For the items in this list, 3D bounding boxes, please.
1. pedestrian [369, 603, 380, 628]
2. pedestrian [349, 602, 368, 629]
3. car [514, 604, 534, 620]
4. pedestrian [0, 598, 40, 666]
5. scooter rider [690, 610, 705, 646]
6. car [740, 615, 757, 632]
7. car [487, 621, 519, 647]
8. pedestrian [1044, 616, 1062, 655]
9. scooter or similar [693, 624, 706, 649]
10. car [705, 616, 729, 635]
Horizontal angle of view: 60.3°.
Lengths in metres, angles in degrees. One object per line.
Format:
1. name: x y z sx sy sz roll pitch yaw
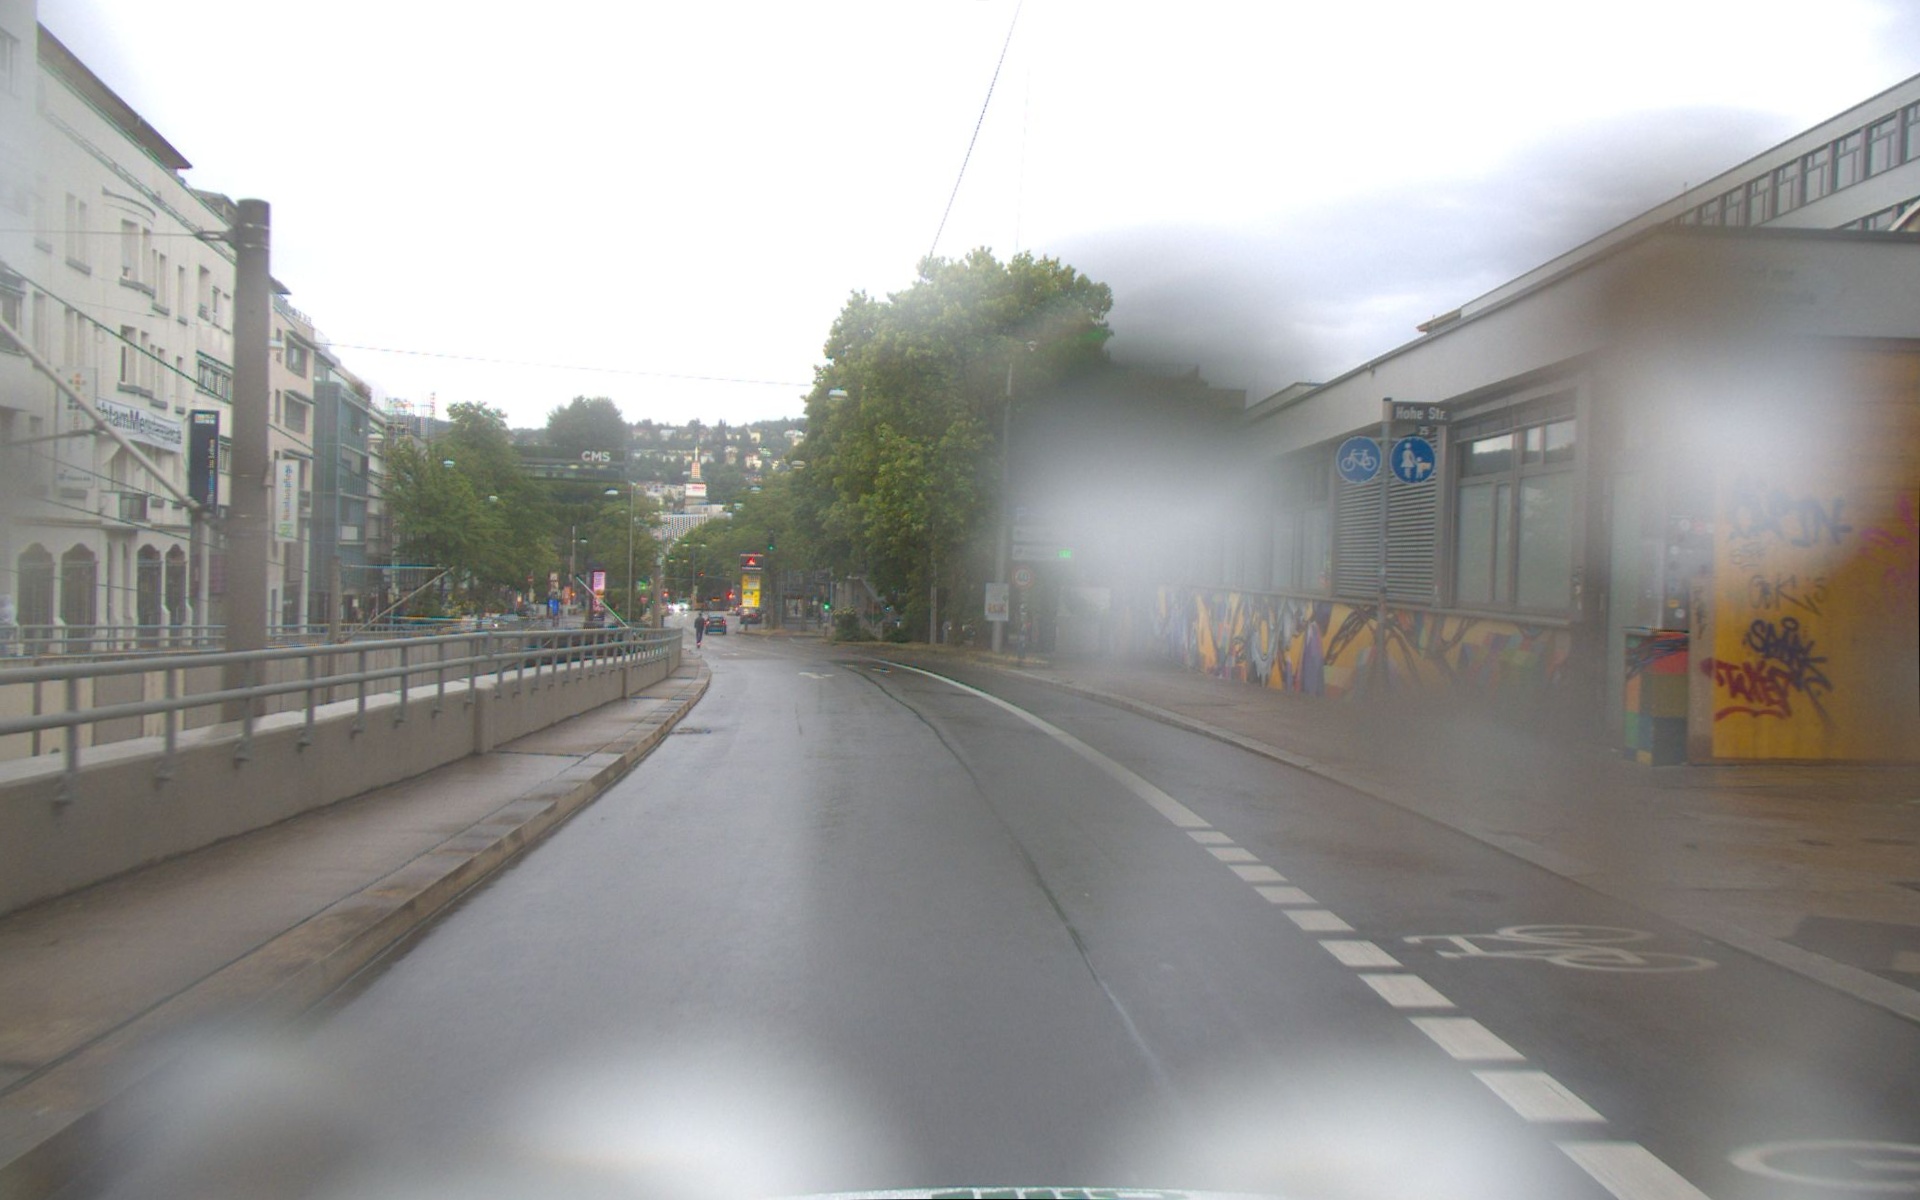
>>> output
1. pedestrian: -40.720 1.082 115.046 0.653 1.701 0.486 1 -1 -13
2. pedestrian: -42.534 1.117 116.956 0.845 1.901 0.960 1 -1 7
3. car: -46.423 1.266 176.143 1.749 1.582 3.882 2 1 -12
4. pedestrian: -23.794 0.801 41.766 0.779 1.671 0.671 1 -1 35
5. scooter rider: -15.044 1.602 94.768 0.794 1.982 0.819 2 -1 -13
6. car: -23.213 2.559 181.432 1.865 1.713 3.904 2 -1 -8
7. car: -34.254 2.541 124.060 1.803 1.743 4.567 1 1 -10
8. pedestrian: 4.558 1.757 81.309 0.791 1.897 1.055 0 -1 -3
9. scooter or similar: -14.909 2.081 94.712 0.536 1.443 1.948 2 -1 -13
10. car: -20.455 2.101 138.927 1.715 1.545 4.094 2 -1 -12
